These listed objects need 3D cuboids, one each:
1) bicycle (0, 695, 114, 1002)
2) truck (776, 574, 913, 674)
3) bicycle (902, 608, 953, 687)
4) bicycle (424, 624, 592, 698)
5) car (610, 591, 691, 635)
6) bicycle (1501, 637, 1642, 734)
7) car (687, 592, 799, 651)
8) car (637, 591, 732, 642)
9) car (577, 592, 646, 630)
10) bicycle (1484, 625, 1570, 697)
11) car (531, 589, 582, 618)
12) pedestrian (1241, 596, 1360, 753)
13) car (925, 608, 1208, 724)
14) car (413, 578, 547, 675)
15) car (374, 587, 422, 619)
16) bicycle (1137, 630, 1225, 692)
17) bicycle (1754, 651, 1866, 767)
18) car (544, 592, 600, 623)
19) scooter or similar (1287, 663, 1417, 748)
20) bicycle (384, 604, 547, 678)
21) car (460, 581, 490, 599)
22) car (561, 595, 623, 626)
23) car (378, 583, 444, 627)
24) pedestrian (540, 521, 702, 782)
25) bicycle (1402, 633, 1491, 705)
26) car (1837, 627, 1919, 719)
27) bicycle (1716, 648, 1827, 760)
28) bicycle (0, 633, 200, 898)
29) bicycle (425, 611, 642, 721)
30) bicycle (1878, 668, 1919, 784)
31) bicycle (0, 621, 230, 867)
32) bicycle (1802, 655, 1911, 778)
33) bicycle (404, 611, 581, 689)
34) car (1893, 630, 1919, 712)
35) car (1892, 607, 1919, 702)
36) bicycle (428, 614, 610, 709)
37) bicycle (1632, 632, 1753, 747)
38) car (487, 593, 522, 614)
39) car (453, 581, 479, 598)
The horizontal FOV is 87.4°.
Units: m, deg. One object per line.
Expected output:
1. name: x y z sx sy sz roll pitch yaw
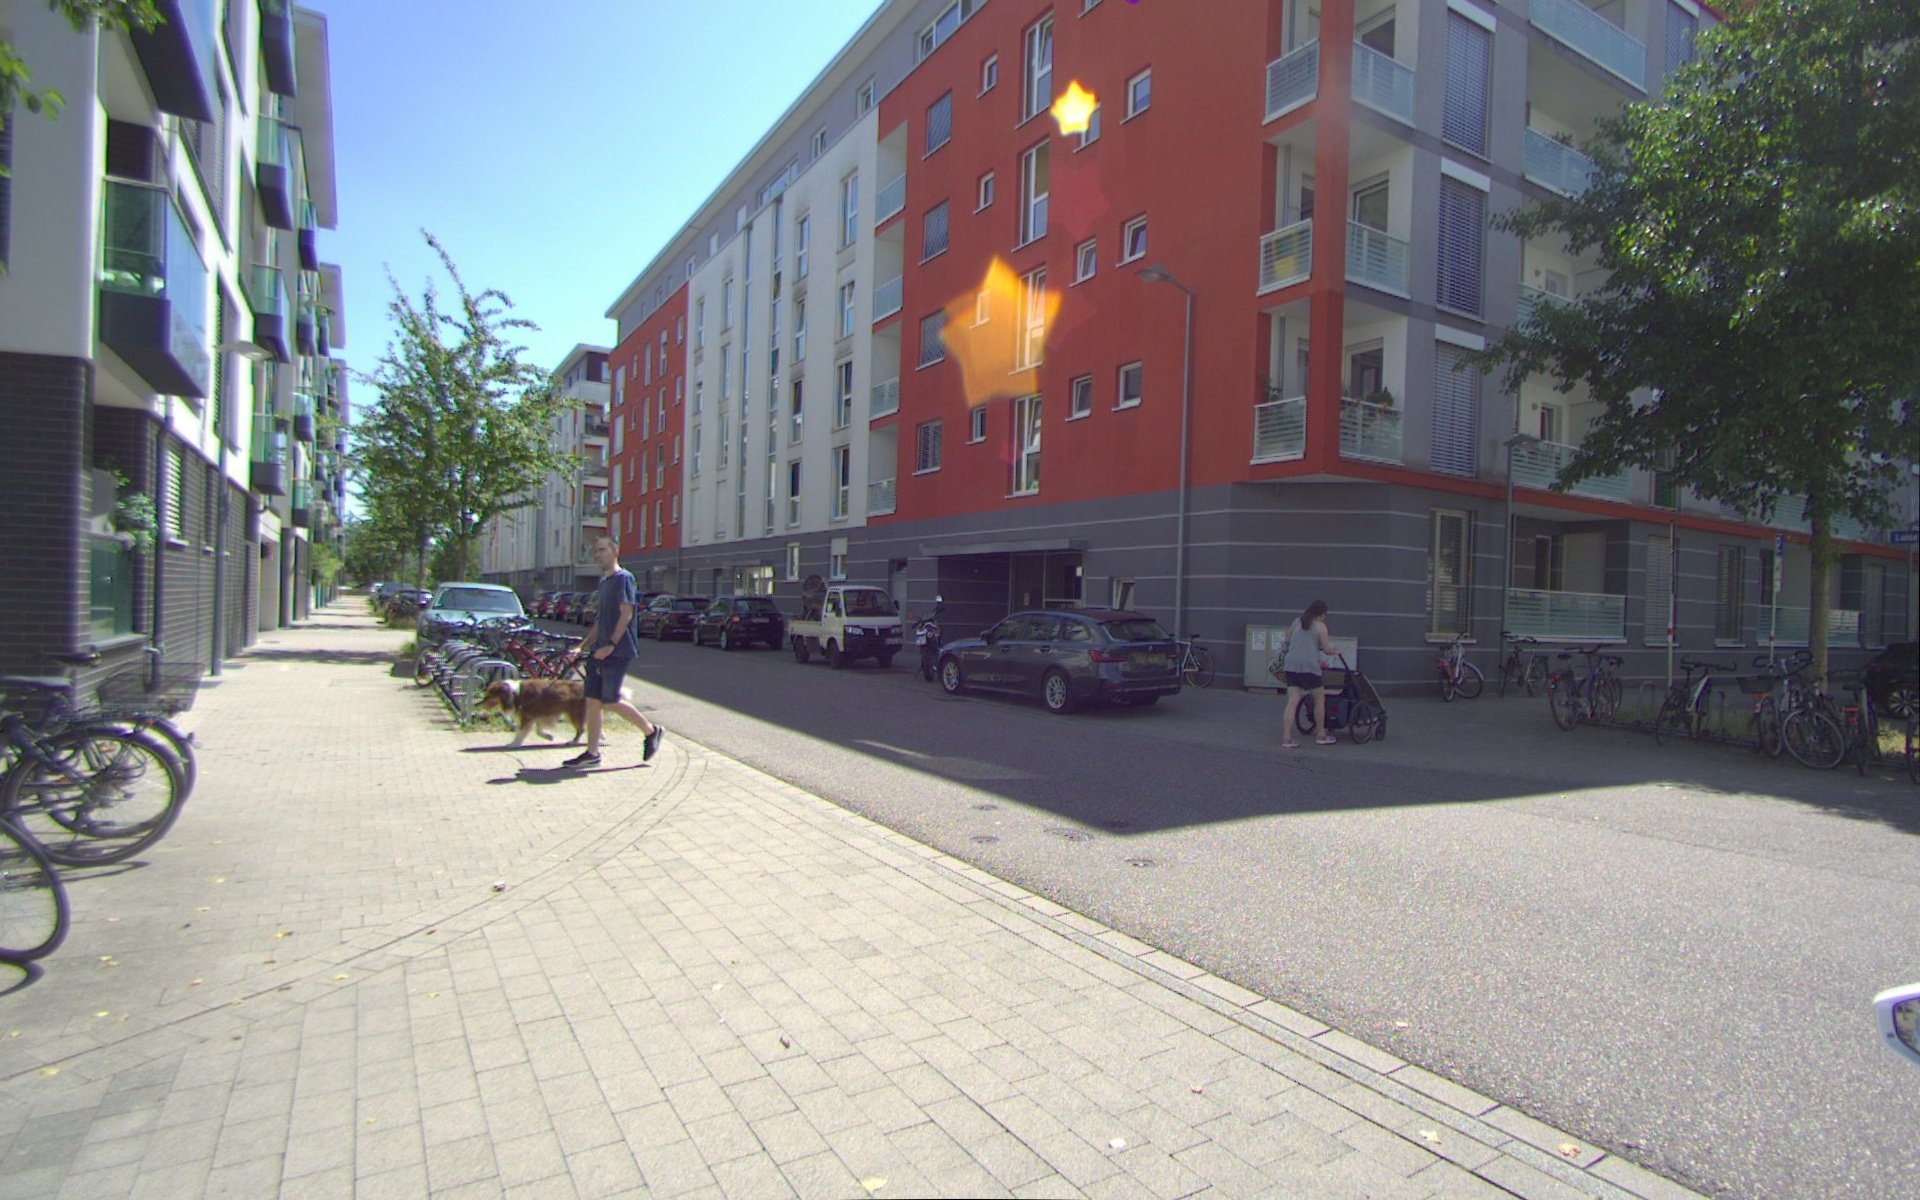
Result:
1. bicycle: -4.002 0.858 3.387 1.657 1.004 0.531 3 2 -30
2. truck: -2.667 0.456 22.520 1.543 2.041 3.709 -1 1 -33
3. bicycle: -0.599 0.870 19.362 0.669 1.396 2.352 2 0 5
4. bicycle: -6.034 0.801 13.468 1.987 0.920 0.532 2 -1 -34
5. car: -11.794 0.475 38.120 1.978 1.528 3.965 2 0 -32
6. bicycle: 8.481 1.140 13.890 2.197 1.186 0.685 1 3 -31
7. car: -6.264 0.568 28.701 1.977 1.469 3.967 1 1 -31
8. car: -9.157 0.519 33.199 1.978 1.528 3.965 2 0 -32
9. car: -15.112 0.452 43.437 1.978 1.528 3.965 2 0 -32
10. bicycle: 10.410 1.102 18.421 1.904 1.256 0.548 2 -1 -33
11. car: -22.667 0.203 56.320 1.978 1.528 3.965 2 0 -32
12. pedestrian: 3.939 0.829 11.664 0.823 1.713 0.995 2 0 -30
13. car: 1.454 0.877 15.475 1.917 1.402 4.545 0 1 -33
14. car: -8.695 0.433 18.160 1.948 1.536 3.769 2 0 -27
15. car: -28.765 0.148 51.380 1.978 1.528 3.965 2 0 -32
16. bicycle: 3.950 1.071 18.064 0.298 1.000 1.828 2 0 -34
17. bicycle: 9.906 1.232 11.692 1.680 1.220 0.432 1 2 -31
18. car: -20.089 0.368 51.868 1.978 1.528 3.965 2 0 -32
19. scooter or similar: 4.721 1.246 12.140 1.007 0.900 1.063 2 0 -30
20. bicycle: -7.787 0.653 15.919 2.244 1.106 0.806 2 -1 -26
21. car: -43.122 -0.885 89.202 1.978 1.528 3.965 2 0 -32
22. car: -17.577 0.501 47.888 1.978 1.361 3.965 2 0 -32
23. car: -20.684 0.186 37.771 1.978 1.528 3.965 2 0 -32
24. pedestrian: -2.905 0.418 8.568 1.115 2.040 1.005 2 0 -28
25. bicycle: 8.246 1.134 16.977 2.091 1.122 0.601 2 0 -43
26. car: 18.247 1.391 17.233 2.051 1.535 4.360 2 2 -31
27. bicycle: 9.885 1.224 12.223 1.734 1.220 0.515 0 2 -34
28. bicycle: -4.632 0.735 4.585 1.822 1.151 0.703 2 -1 -37
29. bicycle: -4.669 0.700 11.074 2.083 1.106 0.704 2 -1 -36
30. bicycle: 10.598 1.333 10.923 1.906 1.157 0.463 2 0 -34
31. bicycle: -5.010 0.713 5.181 1.899 1.189 0.744 2 -1 -30
32. bicycle: 10.118 1.268 11.316 1.753 1.190 0.565 0 4 -39
33. bicycle: -6.719 0.707 14.520 2.211 1.049 0.703 2 -1 -39
34. car: 20.421 1.492 18.506 1.857 1.562 4.360 2 1 -31
35. car: 23.893 1.337 21.651 2.285 2.148 5.118 1 1 -31
36. bicycle: -5.362 0.730 12.282 1.974 1.083 0.487 2 -1 -34
37. bicycle: 9.328 1.103 12.772 1.791 1.349 0.590 1 0 -31
38. car: -35.488 0.229 78.228 1.978 1.528 3.965 2 0 -32
39. car: -48.778 -1.040 99.128 1.978 1.528 3.965 2 0 -32
